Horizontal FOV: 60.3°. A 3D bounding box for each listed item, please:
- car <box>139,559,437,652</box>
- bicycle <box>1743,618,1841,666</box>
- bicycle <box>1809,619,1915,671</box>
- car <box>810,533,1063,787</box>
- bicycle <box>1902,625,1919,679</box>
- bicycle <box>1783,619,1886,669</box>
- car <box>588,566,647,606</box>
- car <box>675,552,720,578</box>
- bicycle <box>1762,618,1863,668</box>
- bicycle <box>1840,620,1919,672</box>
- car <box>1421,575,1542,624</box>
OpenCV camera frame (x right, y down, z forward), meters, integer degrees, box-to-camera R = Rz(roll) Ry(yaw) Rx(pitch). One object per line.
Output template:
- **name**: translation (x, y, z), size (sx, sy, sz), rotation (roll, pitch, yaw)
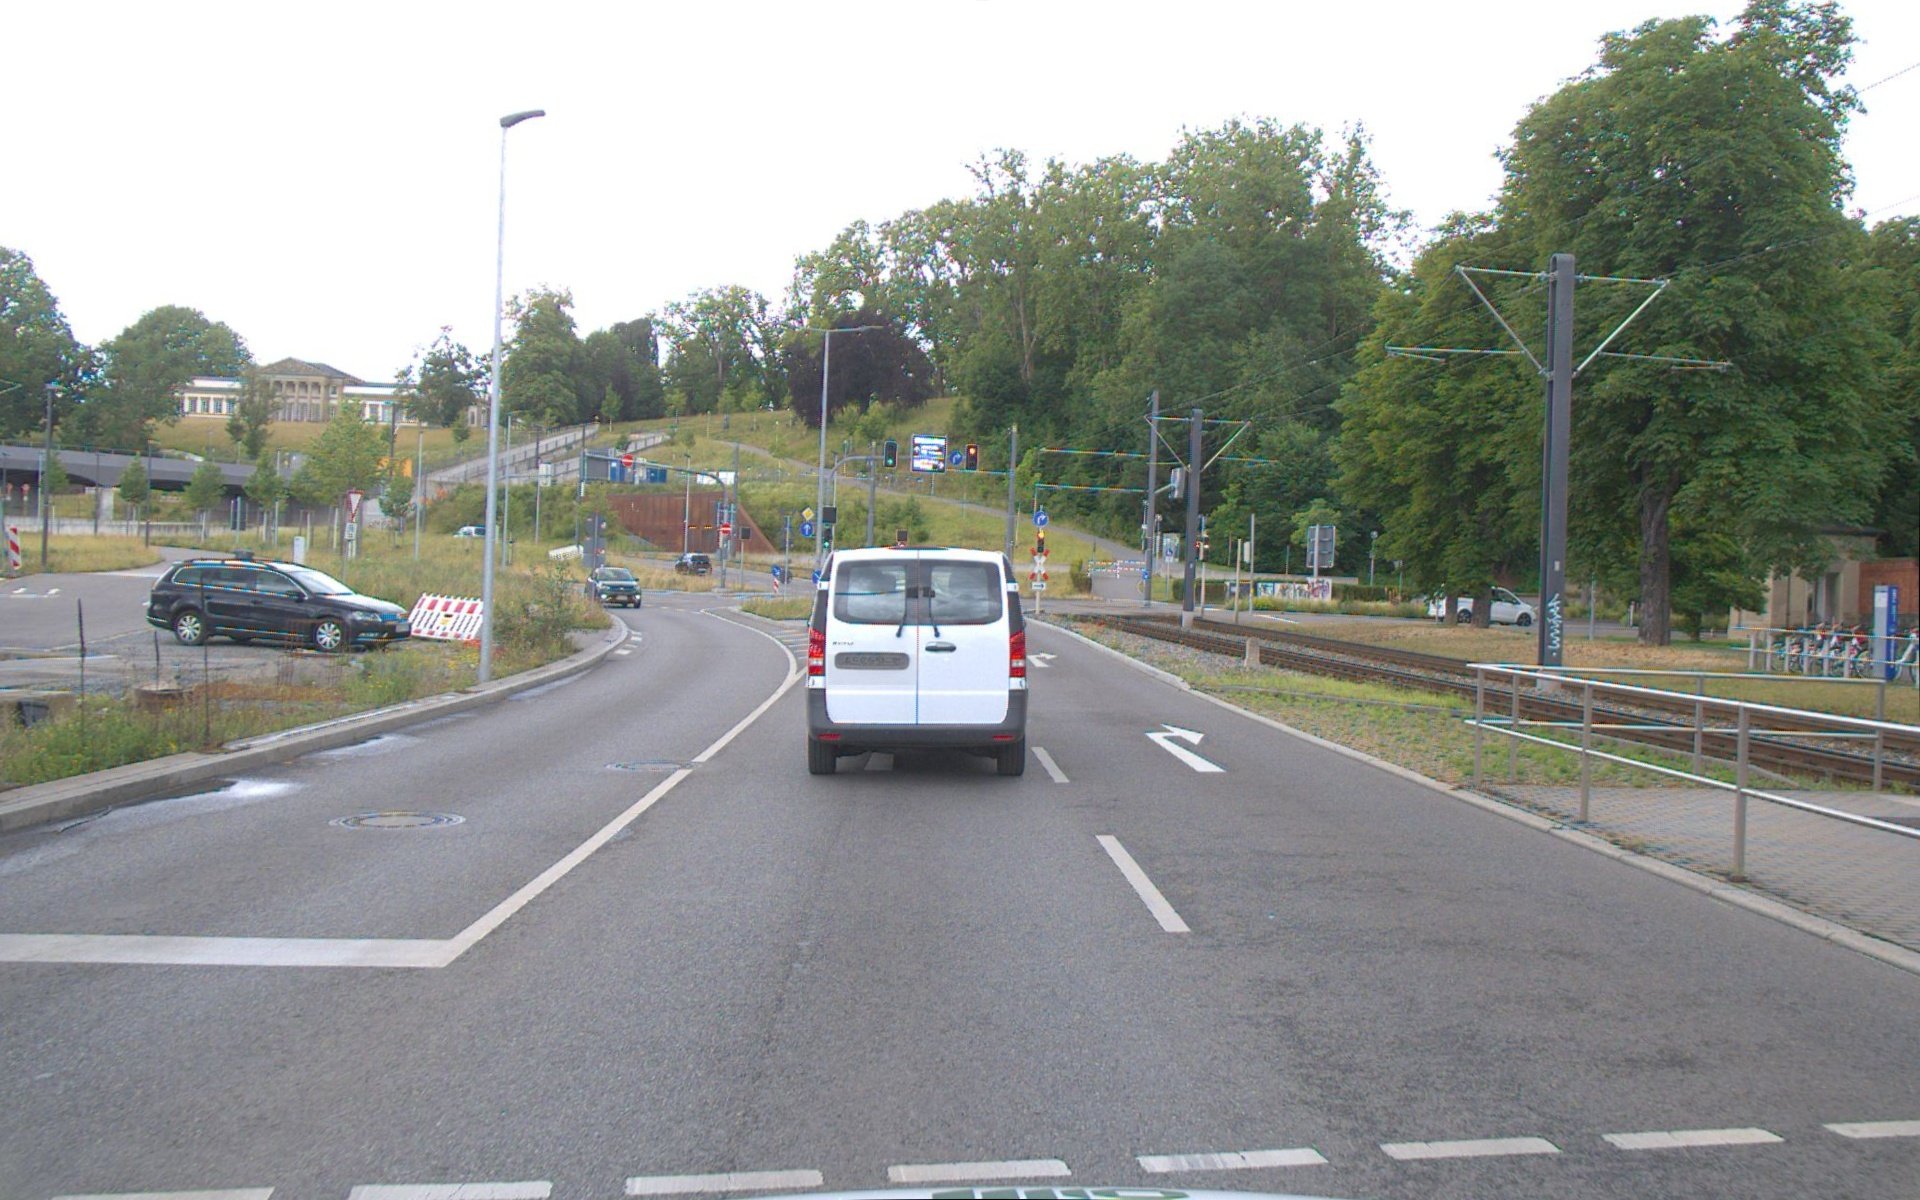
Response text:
- **car**: translation (-12.120, 0.070, 29.991), size (4.609, 1.503, 2.002), rotation (2, 1, 9)
- **bicycle**: translation (18.287, 0.920, 36.367), size (1.873, 0.992, 0.530), rotation (1, 0, -1)
- **bicycle**: translation (18.395, 0.915, 33.736), size (1.873, 0.992, 0.530), rotation (1, 0, -1)
- **car**: translation (-0.377, 0.445, 15.154), size (1.921, 1.937, 4.457), rotation (2, 1, -5)
- **bicycle**: translation (18.562, 0.985, 30.688), size (1.873, 0.992, 0.530), rotation (1, 0, -1)
- **bicycle**: translation (18.212, 0.913, 34.458), size (1.873, 0.992, 0.530), rotation (1, 0, -1)
- **car**: translation (-13.718, -0.589, 66.120), size (1.850, 1.502, 3.979), rotation (1, 1, -19)
- **car**: translation (-18.119, -2.408, 113.931), size (1.914, 1.655, 3.967), rotation (3, 1, -26)
- **bicycle**: translation (18.265, 0.918, 35.441), size (1.873, 0.992, 0.530), rotation (1, 0, -1)
- **bicycle**: translation (18.602, 0.920, 32.927), size (1.873, 0.992, 0.530), rotation (1, 0, -1)
- **car**: translation (25.015, -0.020, 79.421), size (5.042, 2.048, 2.202), rotation (3, 0, -11)
